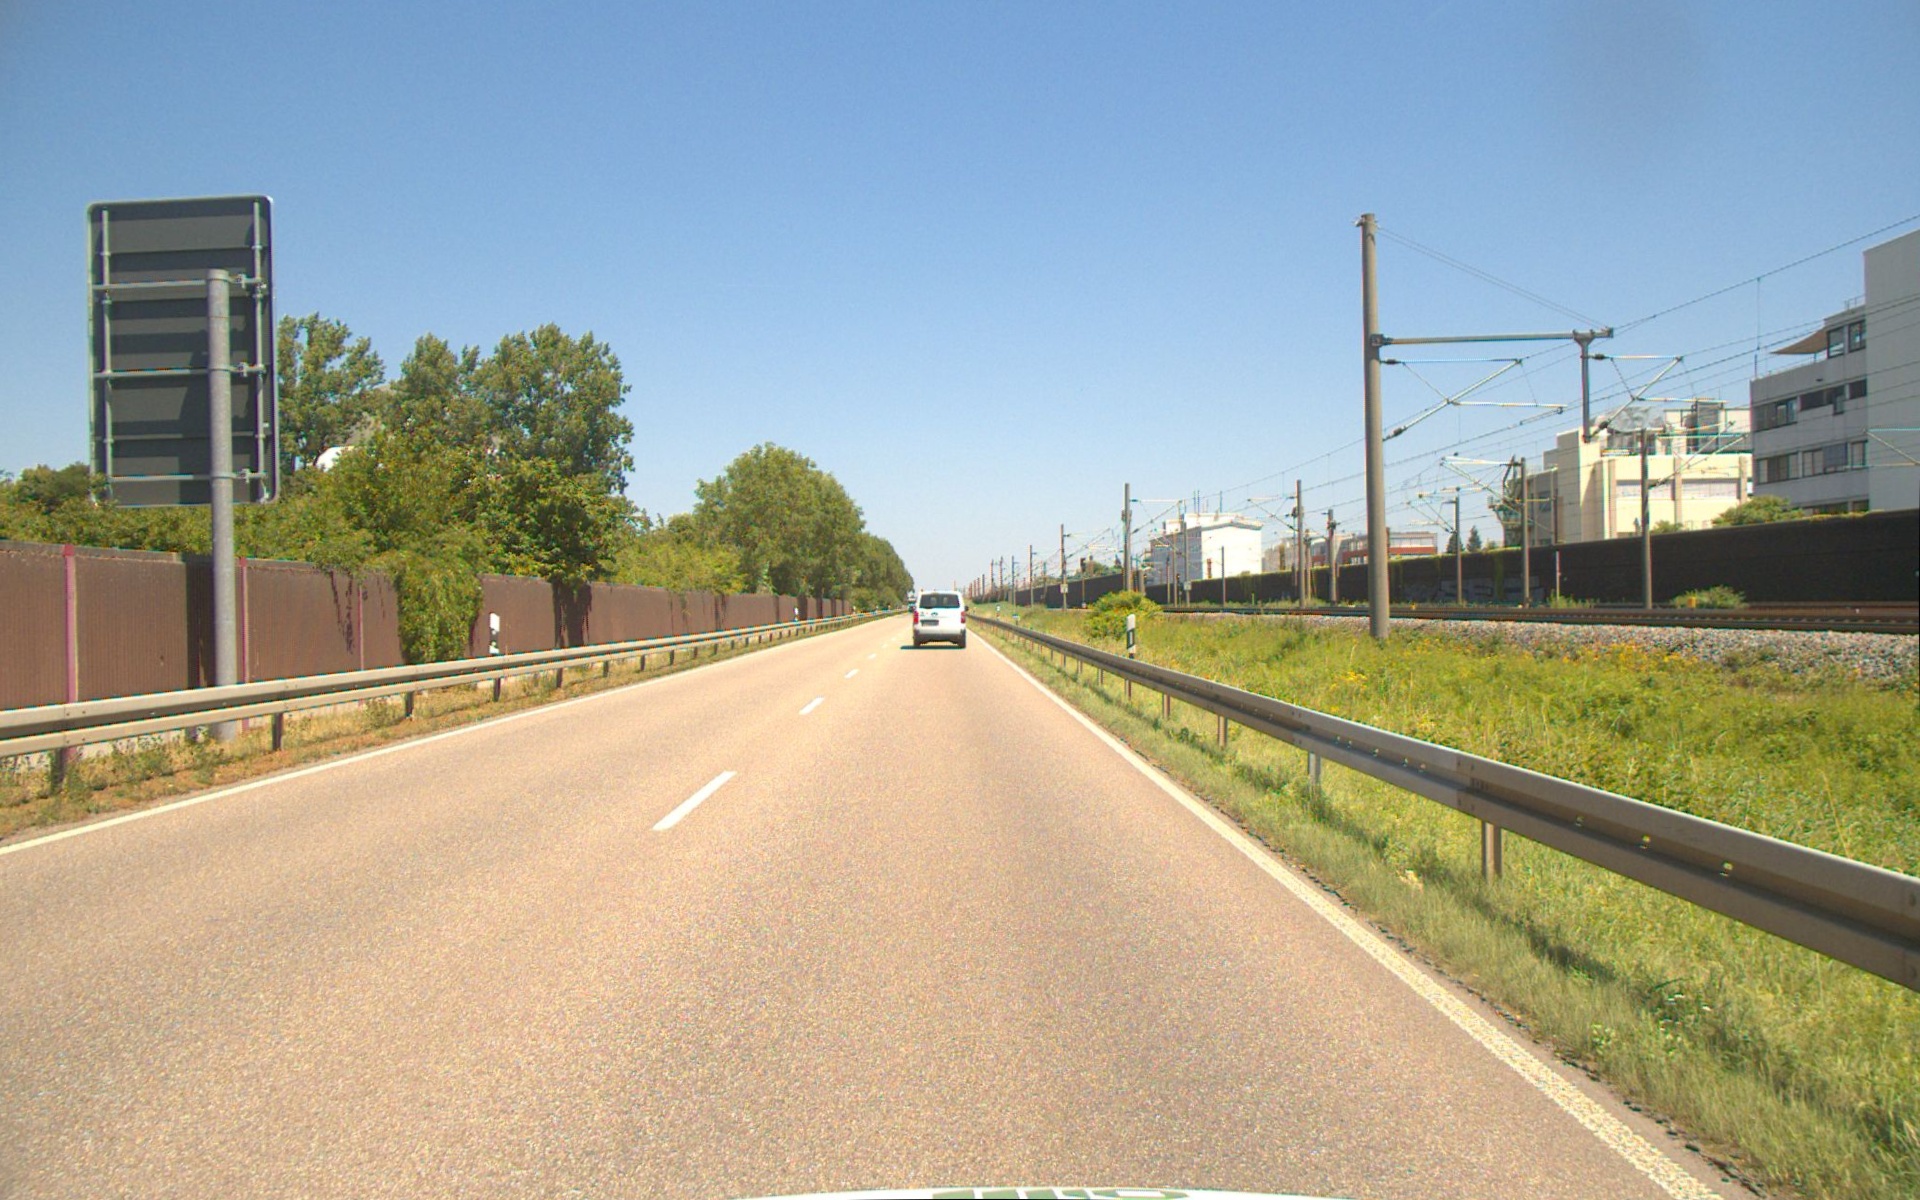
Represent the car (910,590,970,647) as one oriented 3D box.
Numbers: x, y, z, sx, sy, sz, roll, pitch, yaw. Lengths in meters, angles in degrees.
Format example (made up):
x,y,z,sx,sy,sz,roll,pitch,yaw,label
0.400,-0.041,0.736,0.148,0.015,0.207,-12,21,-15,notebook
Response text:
x,y,z,sx,sy,sz,roll,pitch,yaw,label
-0.695,0.635,57.465,1.953,1.882,3.999,1,0,-1,car
